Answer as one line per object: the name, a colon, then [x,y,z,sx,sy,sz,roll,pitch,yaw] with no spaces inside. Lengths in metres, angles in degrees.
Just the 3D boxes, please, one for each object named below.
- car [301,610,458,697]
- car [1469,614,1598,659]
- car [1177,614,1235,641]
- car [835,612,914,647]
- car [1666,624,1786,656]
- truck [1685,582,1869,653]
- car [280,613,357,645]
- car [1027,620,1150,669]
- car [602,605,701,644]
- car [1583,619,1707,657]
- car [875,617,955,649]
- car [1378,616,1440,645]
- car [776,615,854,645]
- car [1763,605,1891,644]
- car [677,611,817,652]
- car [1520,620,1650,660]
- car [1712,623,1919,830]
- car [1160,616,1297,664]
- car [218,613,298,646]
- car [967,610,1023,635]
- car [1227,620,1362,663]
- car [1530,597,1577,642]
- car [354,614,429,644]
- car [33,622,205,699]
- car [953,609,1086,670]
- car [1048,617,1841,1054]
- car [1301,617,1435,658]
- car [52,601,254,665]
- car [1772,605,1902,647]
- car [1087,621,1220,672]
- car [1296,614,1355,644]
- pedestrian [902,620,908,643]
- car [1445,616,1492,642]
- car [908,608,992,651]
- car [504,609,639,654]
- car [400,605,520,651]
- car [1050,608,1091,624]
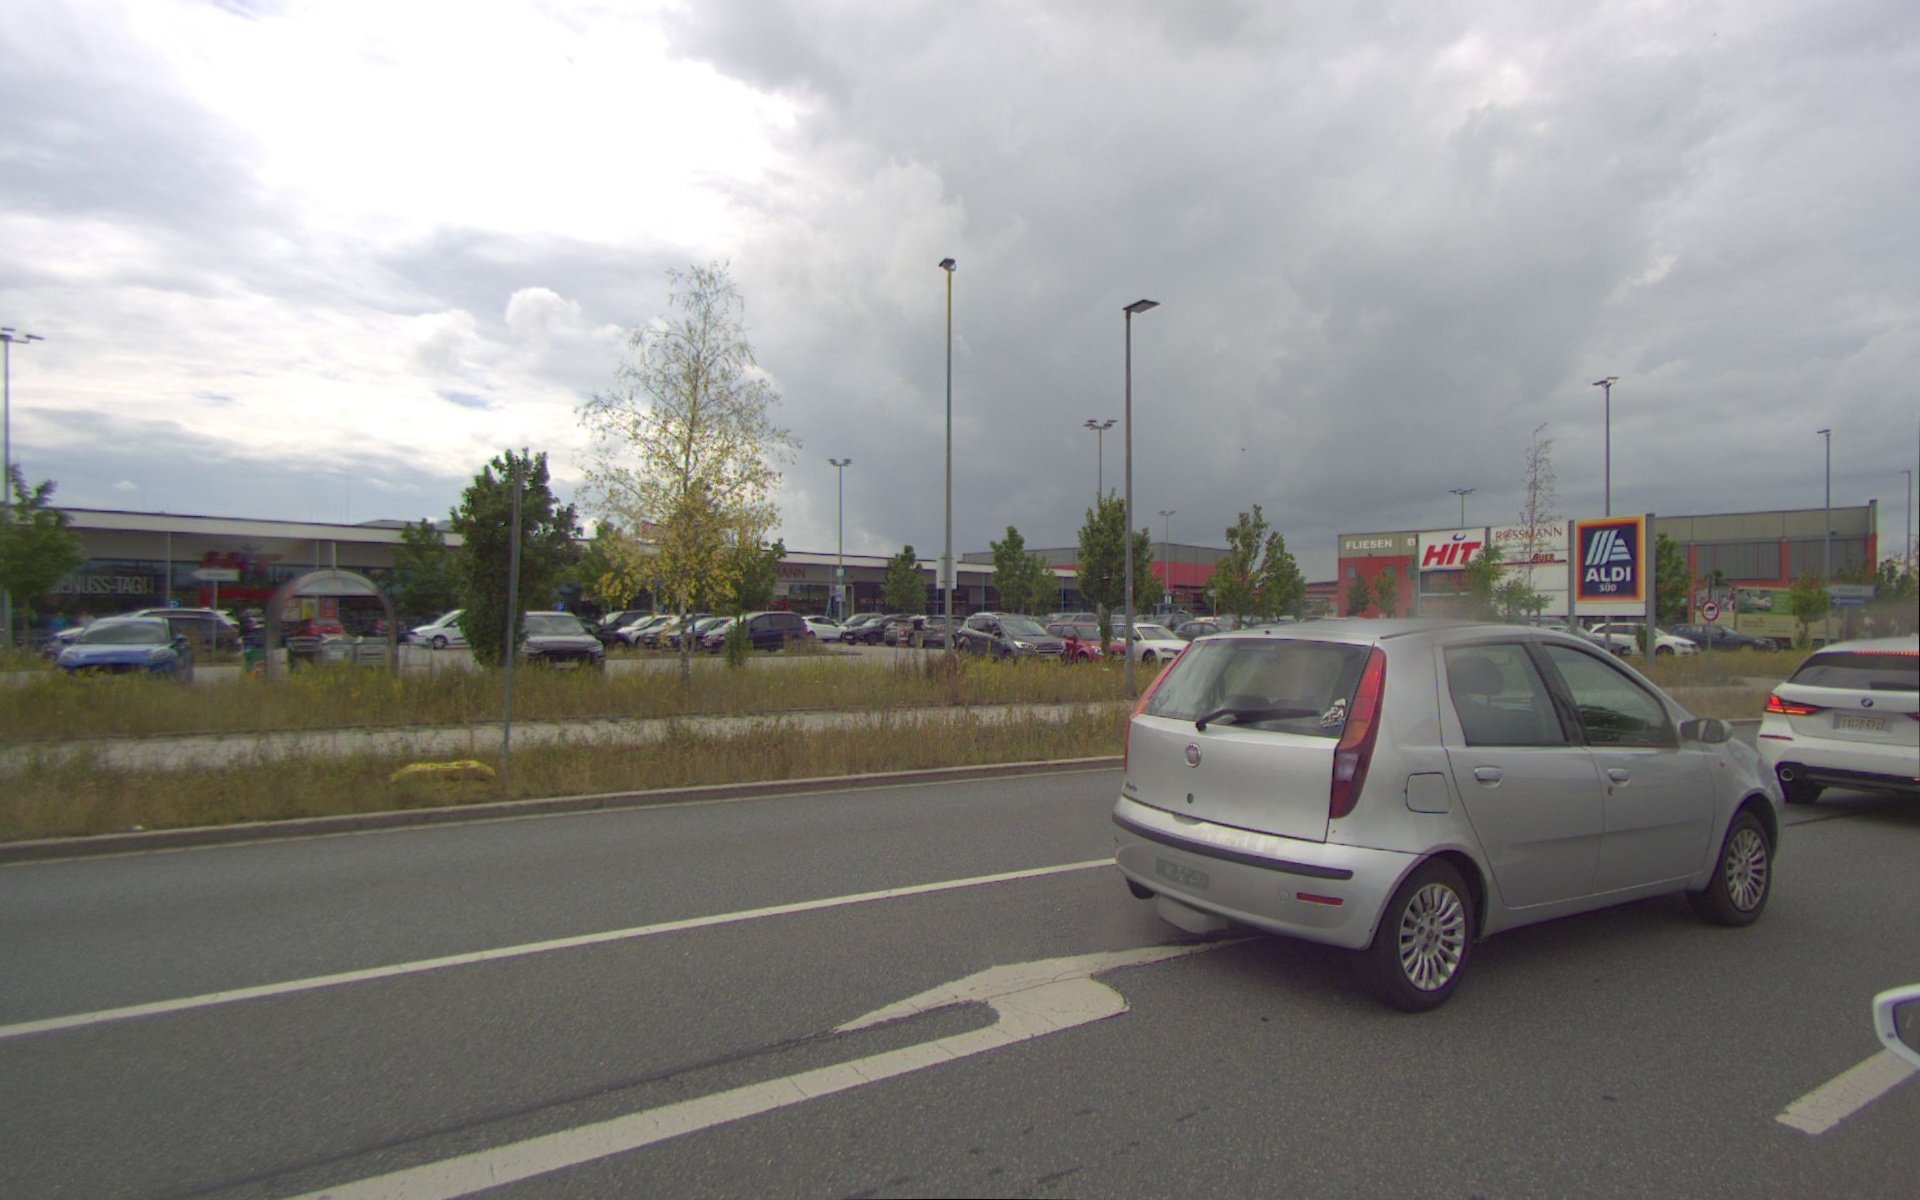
car: [-9.599,0.823,16.928,1.985,1.276,4.067,1,-1,-26]
car: [23.526,1.470,41.358,2.005,1.746,4.221,1,-1,-30]
car: [15.393,1.699,62.838,1.971,1.628,3.980,-1,-1,41]
car: [-4.418,1.510,52.094,1.811,1.706,3.980,-1,-2,41]
car: [37.027,1.895,48.650,1.976,1.454,4.209,1,-1,-32]
truck: [43.901,0.954,54.057,8.275,3.588,2.854,1,0,-9]
car: [-31.671,1.414,49.530,3.988,1.502,1.996,-1,-1,38]
car: [3.902,1.332,31.222,1.973,1.409,4.073,1,-1,-25]
car: [-13.923,1.085,45.508,1.810,1.706,3.984,0,-1,38]
car: [30.542,1.654,44.885,1.970,1.580,4.218,1,-1,-35]
car: [-2.223,1.618,50.303,1.811,1.528,3.980,0,-1,41]
car: [26.587,1.795,59.378,1.971,1.628,5.246,-1,-1,41]
car: [-8.027,1.642,55.930,1.972,1.566,3.978,-1,-1,42]
car: [54.441,1.525,63.172,6.005,2.337,2.197,0,-1,44]
car: [-8.293,1.219,39.414,5.068,1.539,1.975,2,-1,-42]
car: [26.097,1.647,42.116,2.019,1.533,4.228,1,-1,-26]
car: [8.593,0.975,8.591,4.140,1.488,1.873,2,-1,-28]
car: [8.967,1.296,33.924,2.210,1.525,4.351,1,-1,-26]
car: [-32.924,1.367,47.091,3.988,1.502,1.996,-1,-1,38]
car: [2.545,1.592,72.056,1.971,1.755,3.980,-1,-1,41]
car: [11.611,1.407,35.141,2.003,1.357,4.293,1,-1,-29]
car: [38.154,1.245,64.483,2.032,2.726,5.126,0,-1,37]
car: [-29.243,1.476,51.621,3.988,1.502,1.996,-1,-1,38]
car: [-16.406,1.102,19.842,1.989,1.322,4.301,1,-1,-32]
car: [1.690,1.126,30.015,2.054,1.677,4.283,1,-1,-28]
car: [2.561,0.823,5.101,3.984,1.457,1.695,1,-1,-30]
car: [15.002,1.327,37.176,2.136,1.409,4.346,1,-1,-25]
car: [-25.858,1.029,32.302,4.892,1.924,2.131,1,-1,-44]
car: [58.062,1.685,66.605,2.229,2.633,6.343,2,-1,-45]
car: [6.115,1.438,32.267,1.985,1.476,4.302,1,-1,-27]
car: [20.365,1.582,55.958,1.826,1.628,3.980,-1,-1,41]
pedestrian: [-2.552,1.447,46.679,0.264,1.063,0.391,1,0,-5]
car: [34.487,1.944,68.046,1.971,1.752,3.980,-1,-1,41]
car: [-0.418,1.384,48.338,1.808,1.947,4.433,0,-1,36]
car: [-14.171,1.138,36.775,1.970,1.539,4.175,0,-1,40]
car: [-22.138,1.218,44.569,2.212,1.899,4.283,-1,-1,42]
car: [11.565,1.655,105.249,1.984,1.628,3.953,2,-1,-40]
